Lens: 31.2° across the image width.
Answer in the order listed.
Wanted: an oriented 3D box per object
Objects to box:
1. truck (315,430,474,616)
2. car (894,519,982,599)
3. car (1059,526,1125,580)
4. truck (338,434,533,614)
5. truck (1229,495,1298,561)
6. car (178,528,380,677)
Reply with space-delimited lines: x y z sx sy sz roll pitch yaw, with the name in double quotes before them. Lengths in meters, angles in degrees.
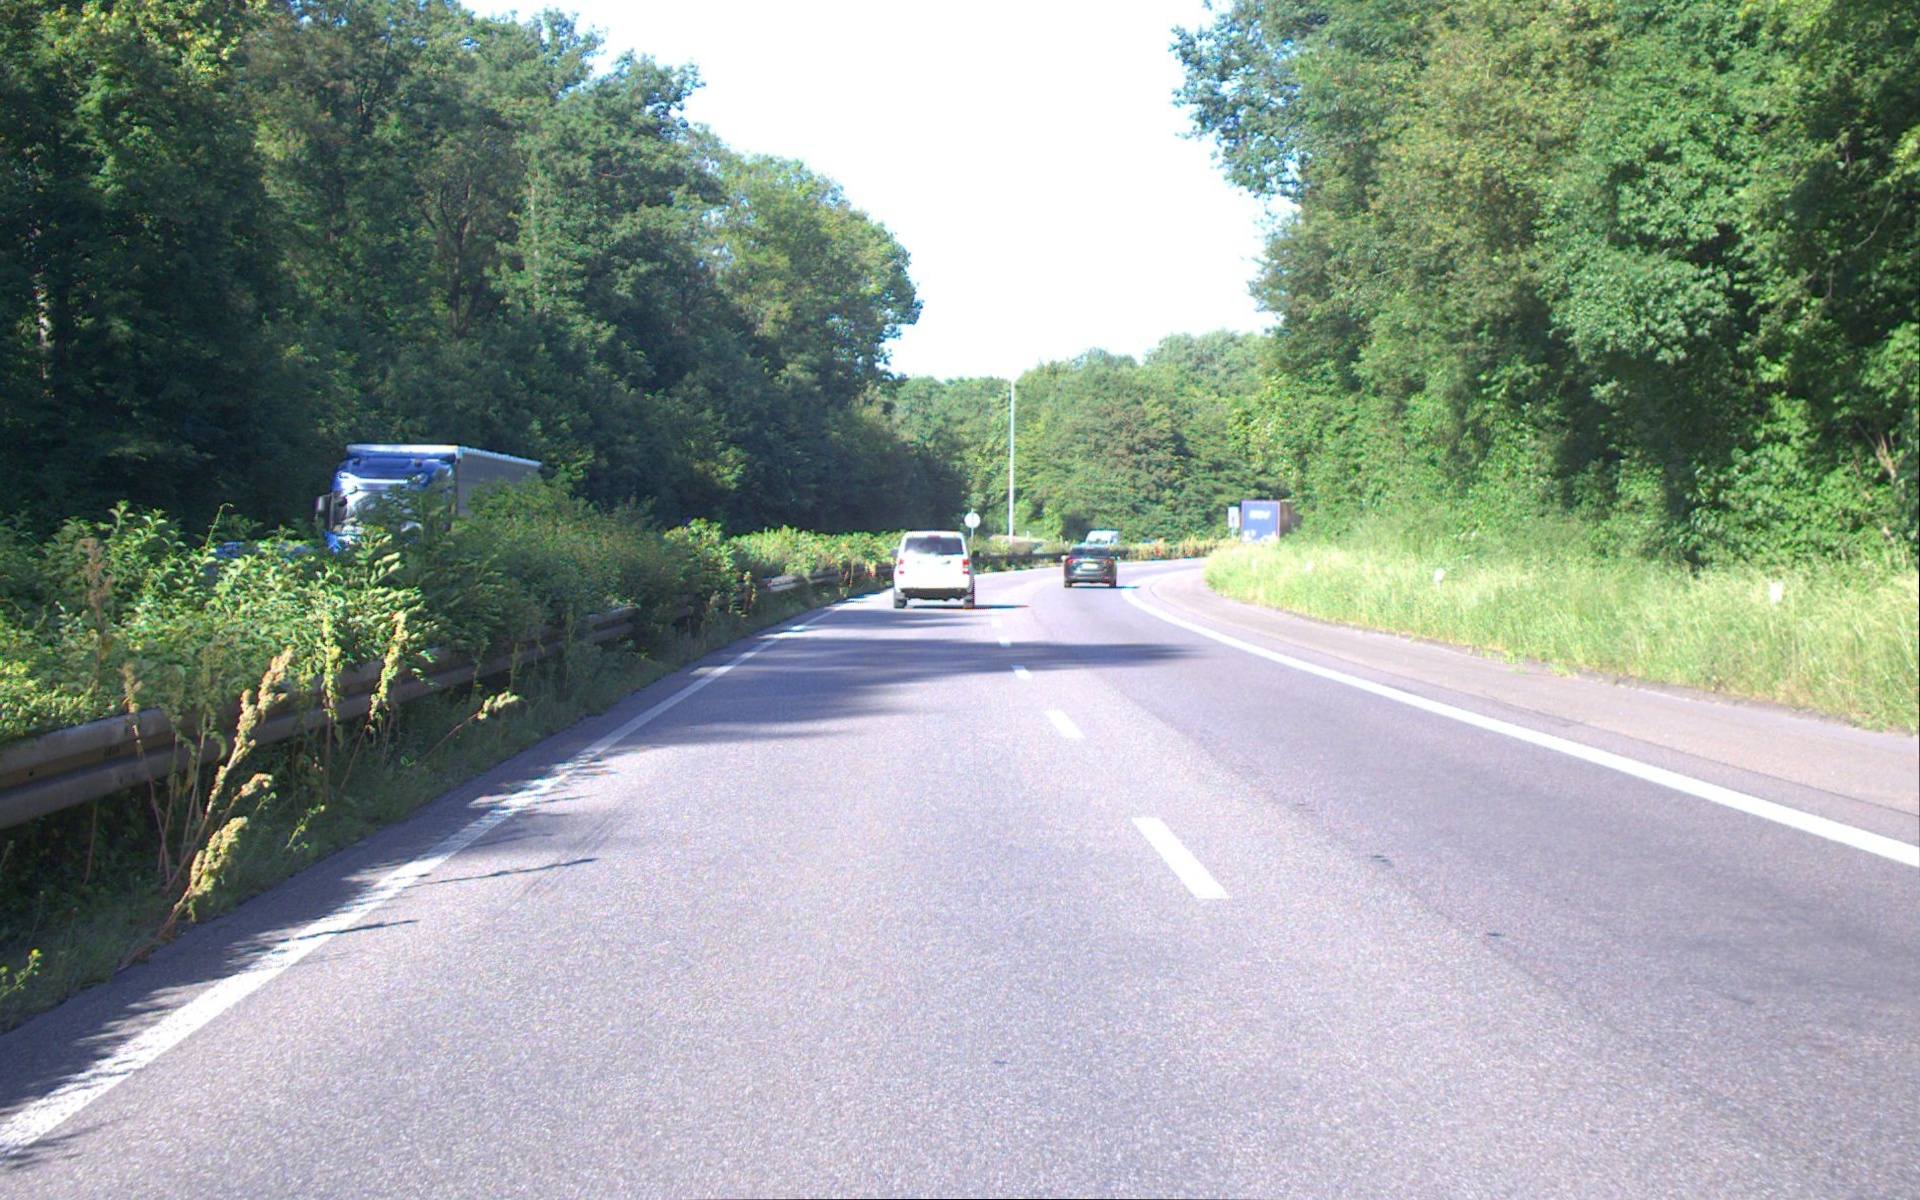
"truck" -12.856 -1.728 78.519 2.716 4.082 5.437 1 1 0
"car" -0.531 -0.950 79.930 1.951 1.776 4.588 1 1 -1
"car" 4.528 -1.613 118.389 1.951 1.776 4.588 1 1 -1
"truck" -12.865 -1.813 85.651 2.707 4.082 14.022 1 1 0
"truck" 20.403 -4.805 230.774 3.736 4.328 9.300 1 1 10
"car" -8.816 0.006 44.795 1.779 1.842 4.000 1 1 1
